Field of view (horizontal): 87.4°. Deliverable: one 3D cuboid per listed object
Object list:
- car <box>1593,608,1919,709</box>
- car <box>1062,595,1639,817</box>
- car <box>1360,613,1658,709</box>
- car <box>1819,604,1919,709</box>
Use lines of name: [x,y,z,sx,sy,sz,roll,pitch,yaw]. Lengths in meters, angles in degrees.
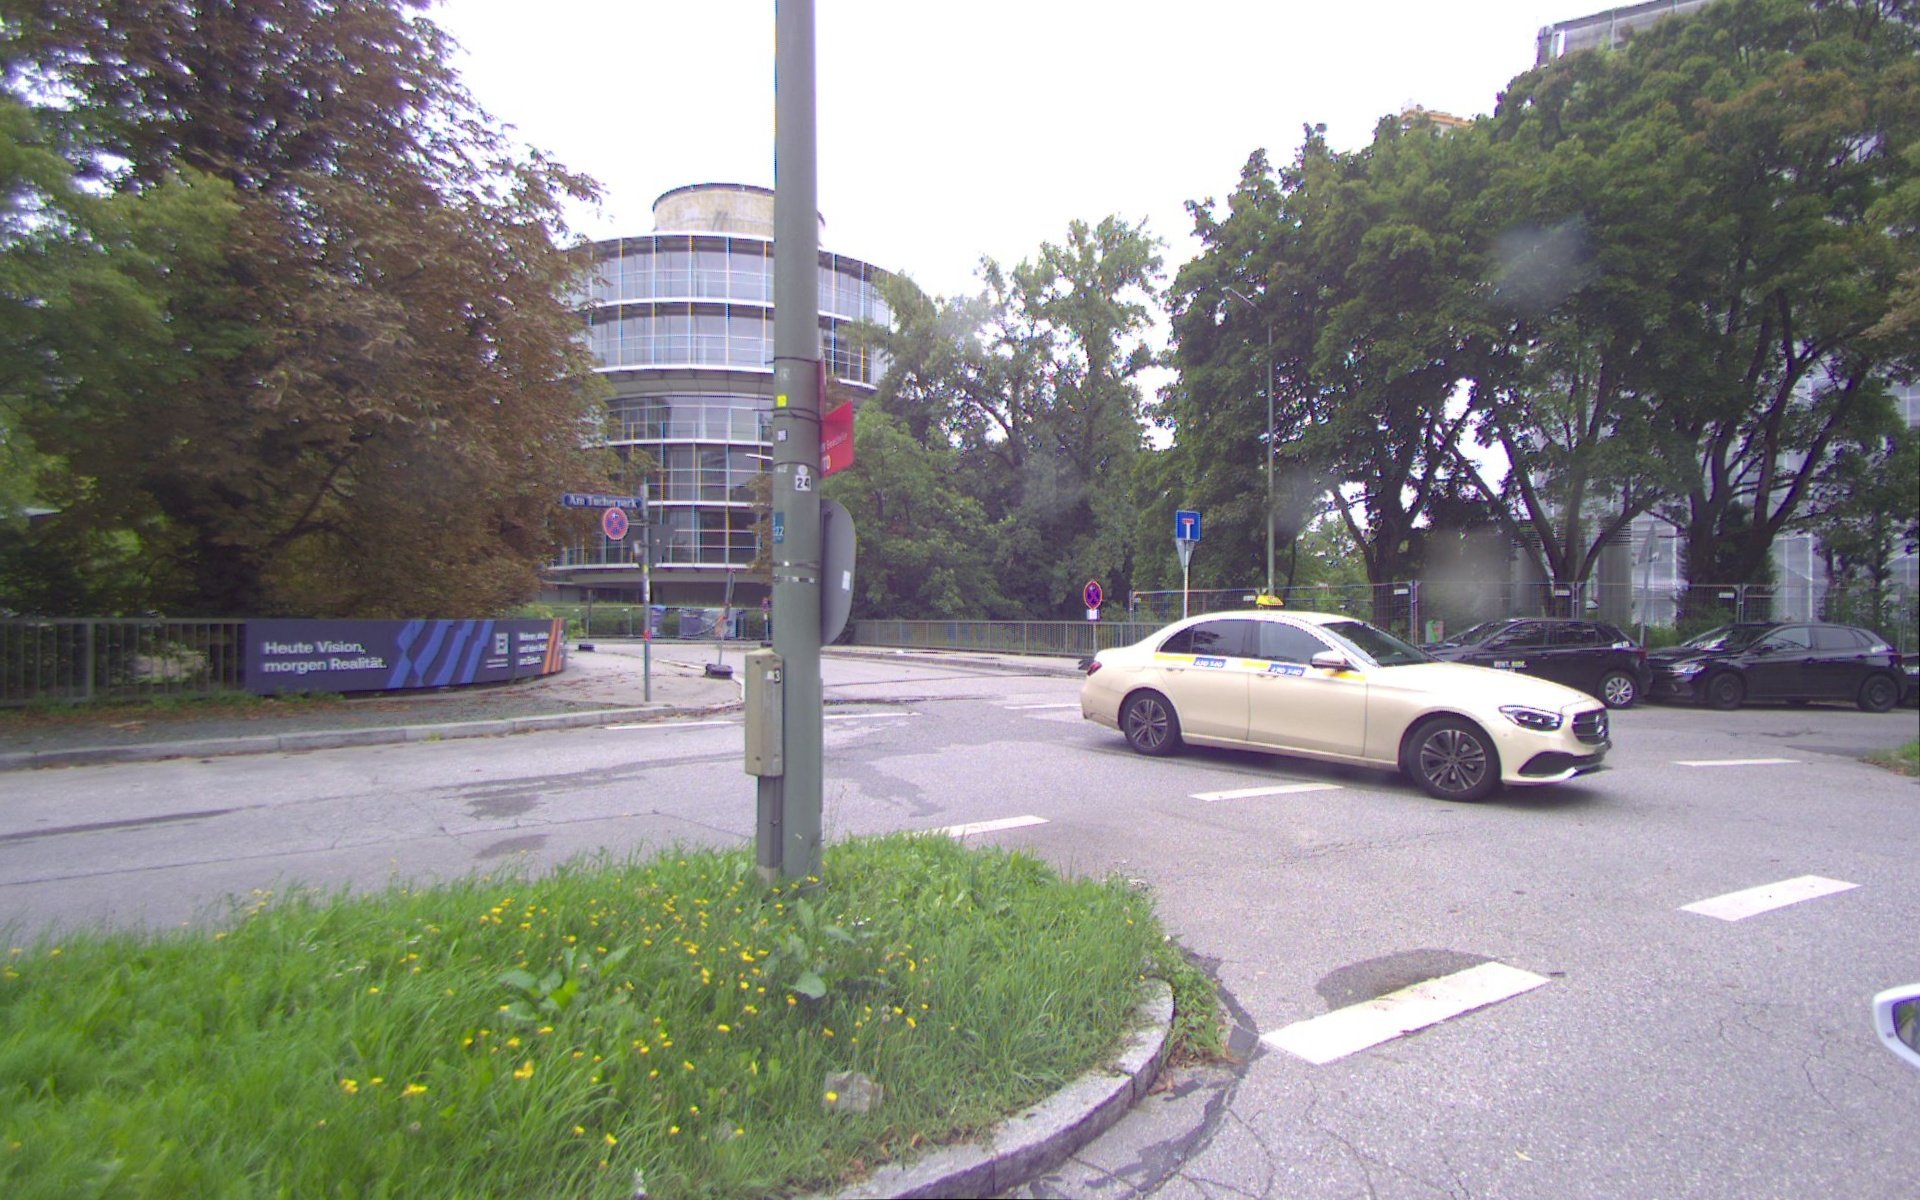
car: [13.338,0.958,17.053,3.920,1.561,2.001,1,-1,2]
car: [3.371,0.778,9.524,1.880,1.566,4.794,1,-1,-42]
car: [9.192,0.983,17.119,3.961,1.452,2.000,1,1,3]
car: [17.683,0.977,17.353,3.920,1.728,2.001,1,-1,2]
